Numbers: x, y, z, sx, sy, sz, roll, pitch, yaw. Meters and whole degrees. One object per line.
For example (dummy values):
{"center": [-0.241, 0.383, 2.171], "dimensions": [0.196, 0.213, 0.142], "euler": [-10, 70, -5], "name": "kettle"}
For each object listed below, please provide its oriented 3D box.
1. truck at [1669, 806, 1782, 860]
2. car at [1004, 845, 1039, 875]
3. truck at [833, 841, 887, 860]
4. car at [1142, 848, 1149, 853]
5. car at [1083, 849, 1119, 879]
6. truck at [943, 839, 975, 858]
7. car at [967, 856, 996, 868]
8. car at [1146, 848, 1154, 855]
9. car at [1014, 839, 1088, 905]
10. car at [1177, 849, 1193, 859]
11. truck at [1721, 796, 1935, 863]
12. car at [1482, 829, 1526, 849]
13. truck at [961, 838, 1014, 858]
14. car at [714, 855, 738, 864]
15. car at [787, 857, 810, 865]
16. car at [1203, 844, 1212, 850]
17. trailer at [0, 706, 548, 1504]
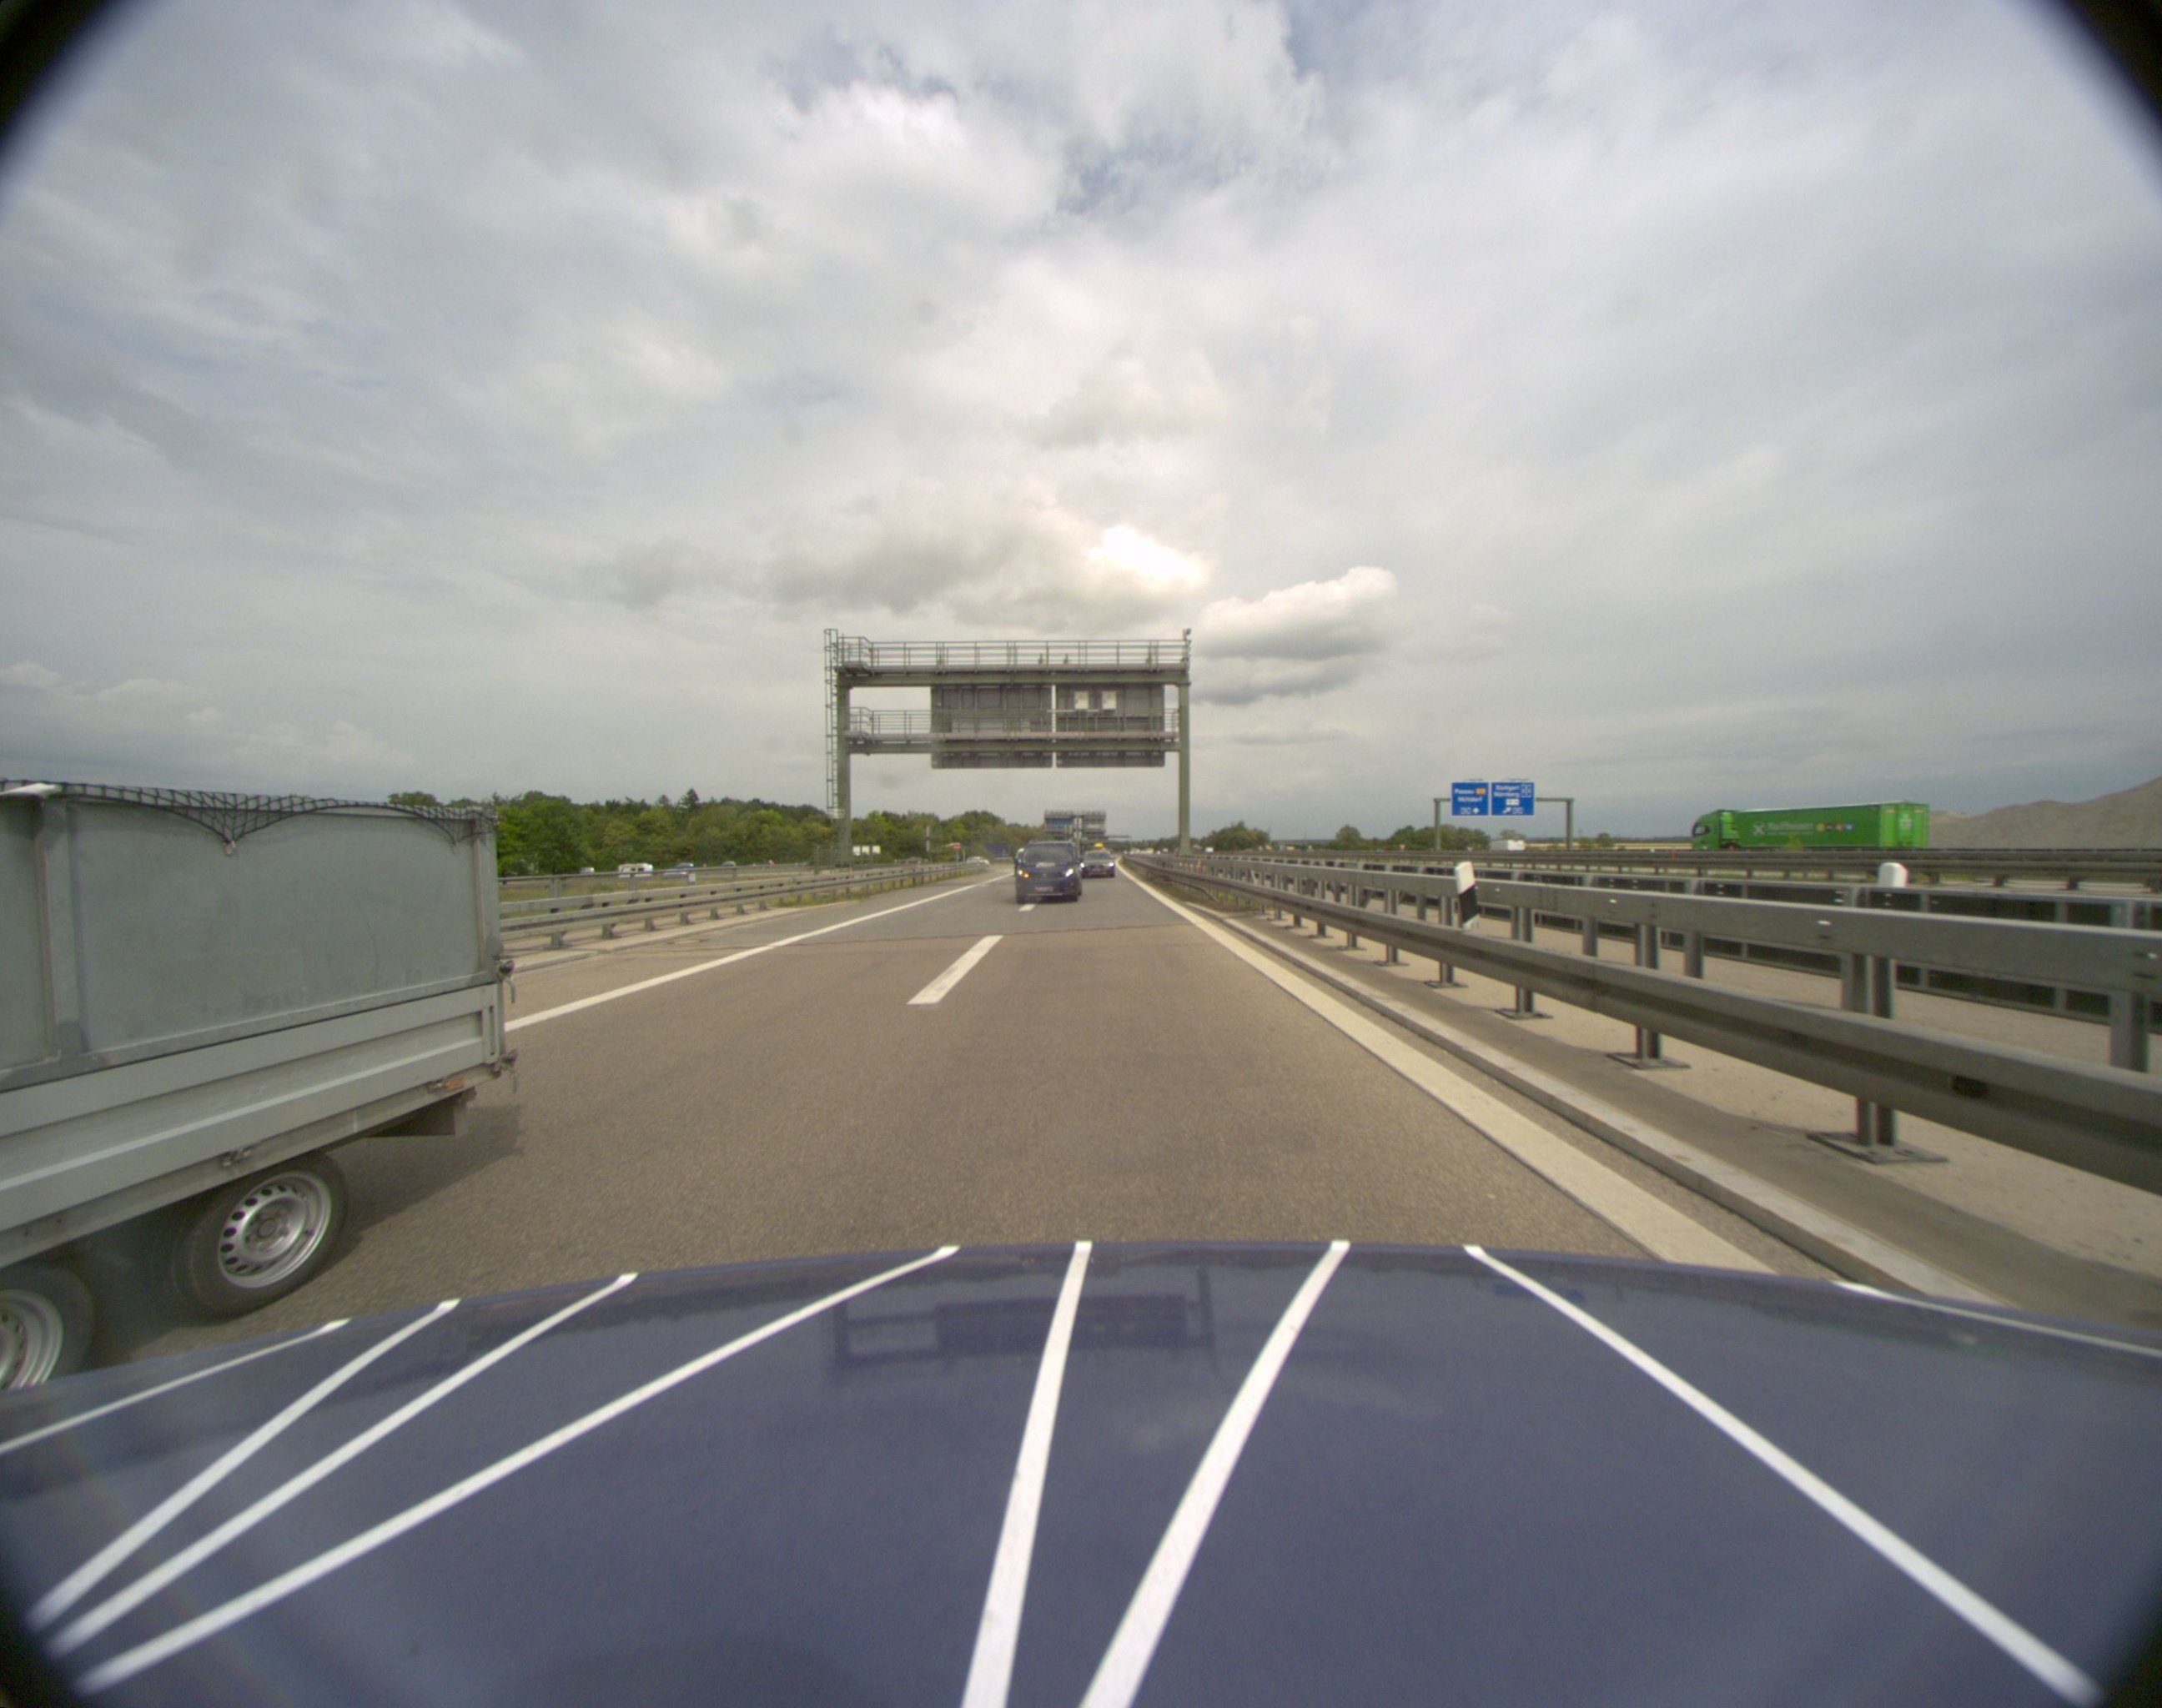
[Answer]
{"center": [45.767, -1.467, 54.230], "dimensions": [3.049, 3.588, 5.893], "euler": [-2, 1, 0], "name": "truck"}
{"center": [-3.762, 0.334, 48.689], "dimensions": [1.862, 1.736, 3.999], "euler": [-2, 1, 0], "name": "car"}
{"center": [-43.784, -0.713, 150.356], "dimensions": [9.886, 3.383, 2.690], "euler": [-2, 1, -23], "name": "truck"}
{"center": [22.047, -1.242, 260.933], "dimensions": [1.999, 1.871, 3.999], "euler": [-2, 1, -1], "name": "car"}
{"center": [1.002, 0.492, 39.785], "dimensions": [1.747, 1.381, 3.999], "euler": [-2, 2, 1], "name": "car"}
{"center": [-25.724, -1.271, 159.984], "dimensions": [5.939, 3.780, 2.894], "euler": [-2, 0, -43], "name": "truck"}
{"center": [-13.299, 1.065, 101.268], "dimensions": [1.729, 1.532, 4.471], "euler": [-3, 1, -38], "name": "car"}
{"center": [21.376, -0.876, 235.345], "dimensions": [1.998, 2.002, 4.465], "euler": [-2, 1, 1], "name": "car"}
{"center": [-0.824, 0.483, 23.394], "dimensions": [1.998, 1.783, 4.000], "euler": [-2, 1, 1], "name": "car"}
{"center": [16.374, -0.004, 120.113], "dimensions": [1.824, 1.537, 4.354], "euler": [-2, 1, -1], "name": "car"}
{"center": [45.678, -1.401, 47.197], "dimensions": [3.020, 3.614, 10.435], "euler": [-2, 1, 0], "name": "truck"}
{"center": [50.007, -1.760, 89.919], "dimensions": [2.201, 2.210, 5.516], "euler": [-2, 1, 1], "name": "car"}
{"center": [-20.221, -1.327, 165.176], "dimensions": [11.814, 3.836, 2.839], "euler": [-3, 1, -43], "name": "truck"}
{"center": [-66.356, 1.075, 142.051], "dimensions": [4.004, 1.442, 1.556], "euler": [-2, 1, -23], "name": "car"}
{"center": [-54.330, 1.366, 146.138], "dimensions": [4.003, 1.392, 1.556], "euler": [-2, 1, -20], "name": "car"}
{"center": [41.265, -2.291, 248.027], "dimensions": [2.106, 1.849, 4.749], "euler": [-2, 1, 0], "name": "car"}
{"center": [-3.662, 0.659, 1.510], "dimensions": [1.859, 2.002, 4.631], "euler": [-2, 1, 0], "name": "trailer"}
